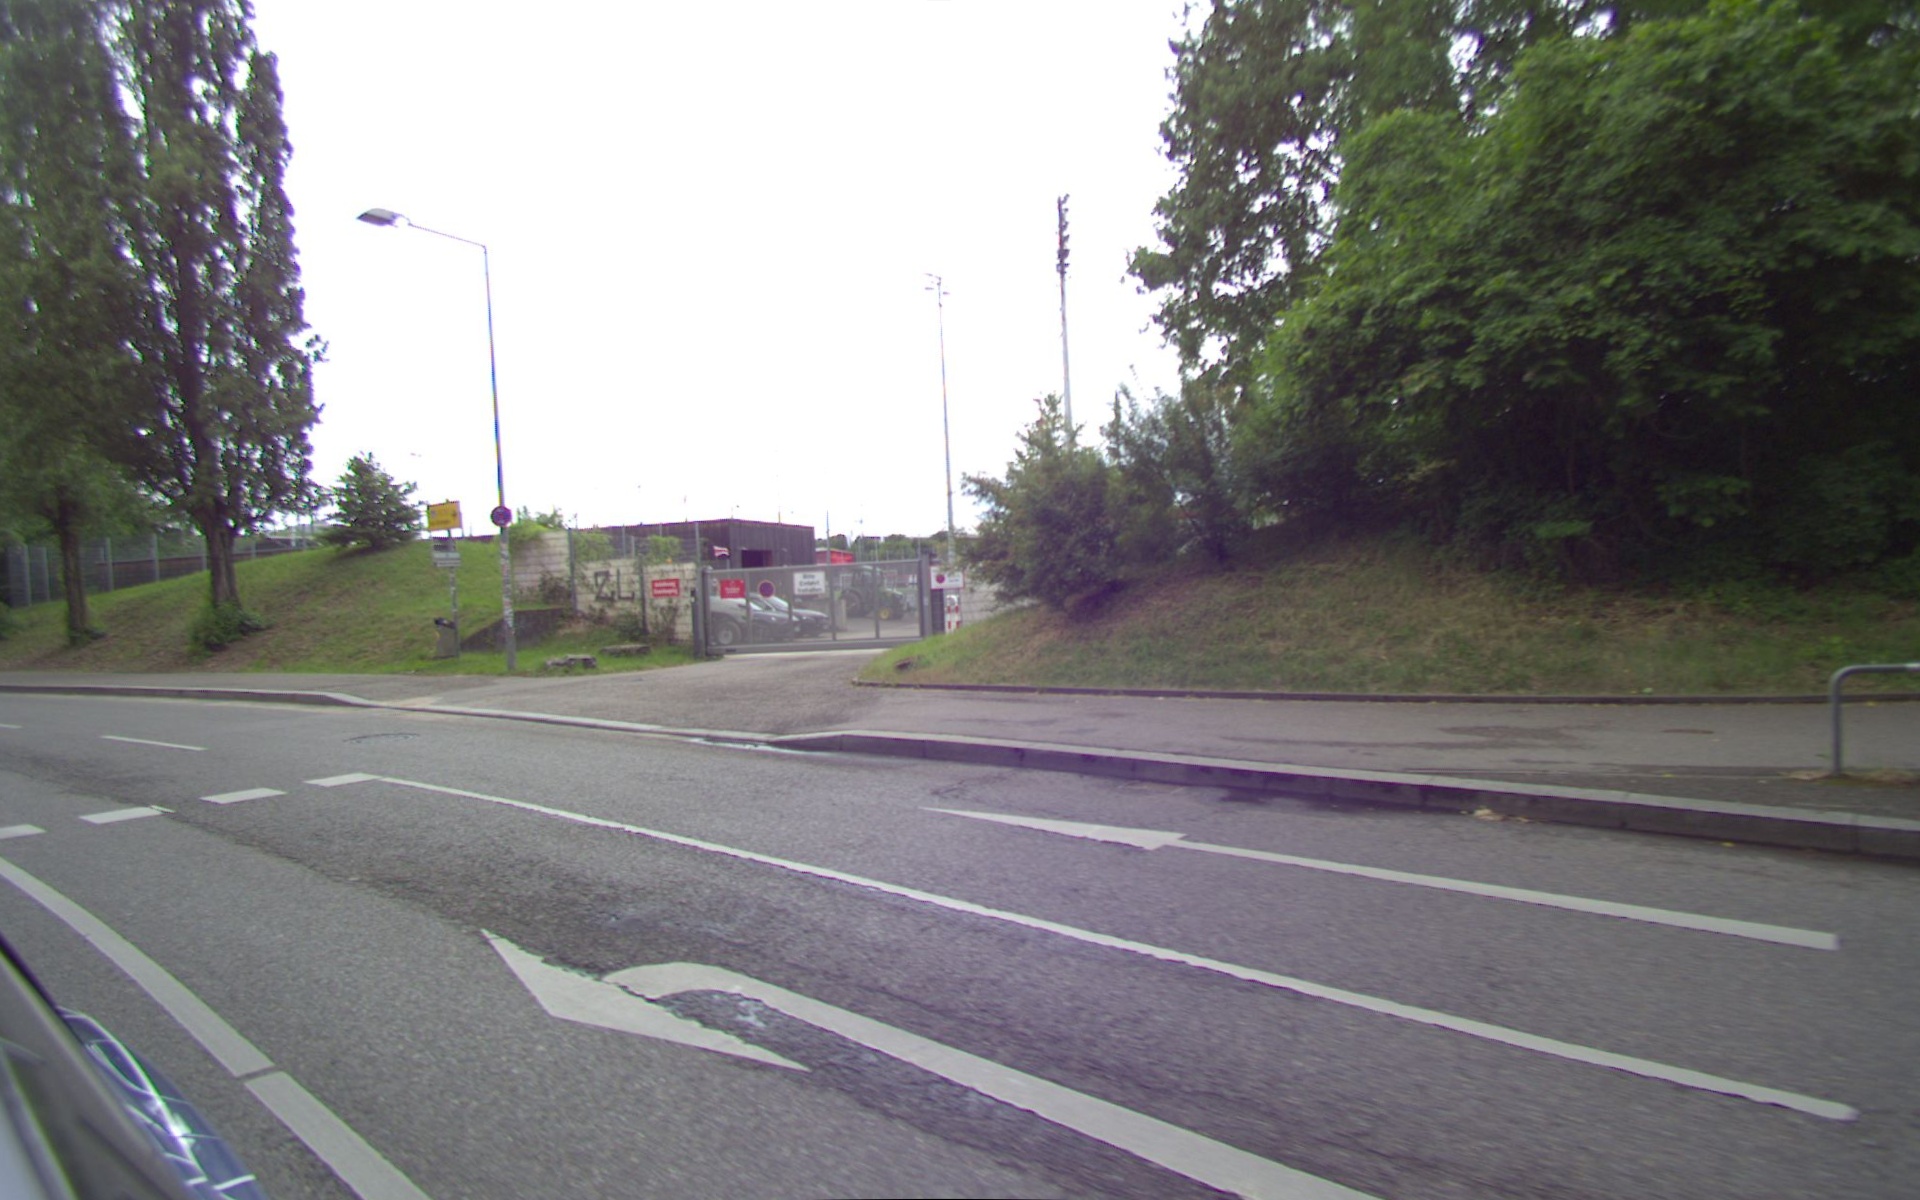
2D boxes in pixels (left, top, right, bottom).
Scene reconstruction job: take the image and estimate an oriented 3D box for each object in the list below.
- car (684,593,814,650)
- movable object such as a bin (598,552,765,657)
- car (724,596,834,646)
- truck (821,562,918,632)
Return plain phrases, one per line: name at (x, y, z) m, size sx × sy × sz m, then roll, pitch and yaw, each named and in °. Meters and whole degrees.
car at (-6.517, 0.658, 31.616) m, size 3.711 × 1.621 × 1.857 m, roll -2°, pitch 0°, yaw -3°
movable object such as a bin at (-7.824, 0.112, 28.749) m, size 4.169 × 2.742 × 2.029 m, roll -2°, pitch 0°, yaw -3°
car at (-6.018, 0.684, 33.923) m, size 3.422 × 1.534 × 1.564 m, roll -2°, pitch 0°, yaw -3°
truck at (-4.111, -0.137, 46.458) m, size 4.058 × 3.031 × 1.817 m, roll -2°, pitch 0°, yaw 8°
